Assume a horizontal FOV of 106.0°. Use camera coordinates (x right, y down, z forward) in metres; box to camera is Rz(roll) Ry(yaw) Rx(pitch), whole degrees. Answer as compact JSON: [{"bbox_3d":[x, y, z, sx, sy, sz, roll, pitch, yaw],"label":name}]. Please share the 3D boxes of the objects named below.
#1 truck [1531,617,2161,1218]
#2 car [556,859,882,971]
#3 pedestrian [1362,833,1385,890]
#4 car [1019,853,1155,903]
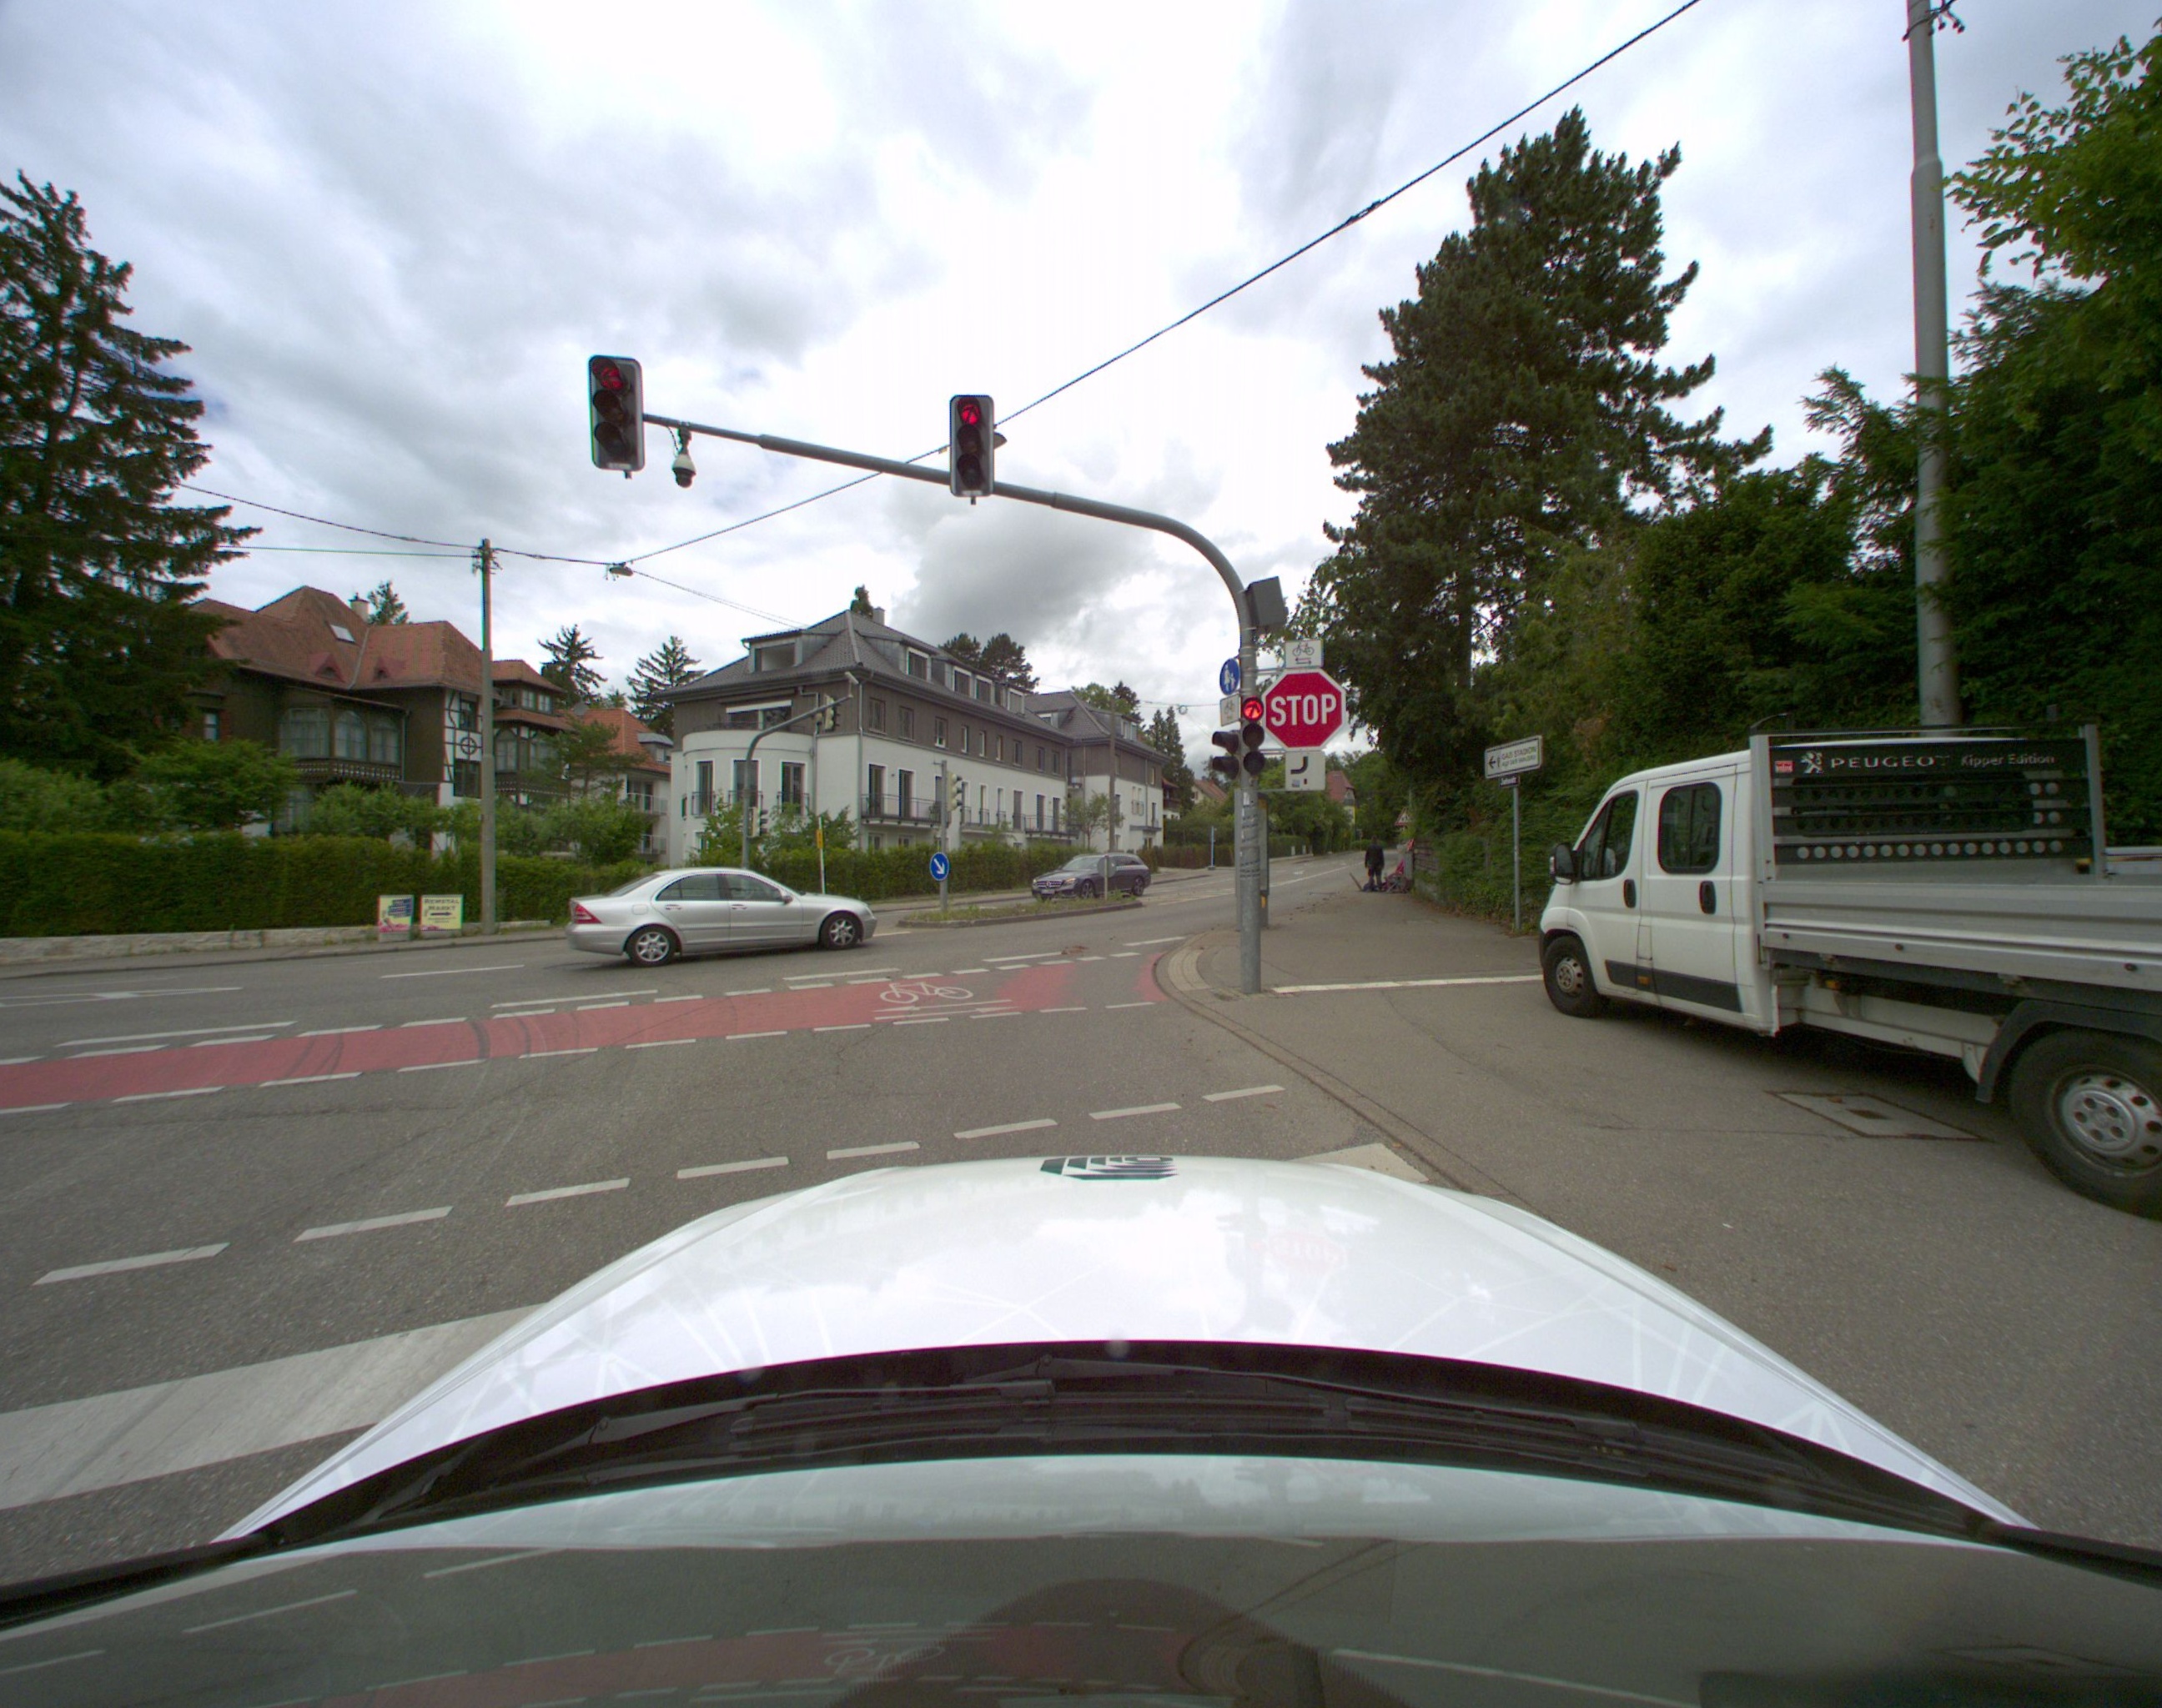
[{"bbox_3d":[5.264,0.237,4.948,2.198,2.243,5.729,0,0,4],"label":"truck"},{"bbox_3d":[-5.577,0.835,12.819,4.440,1.413,1.693,-1,0,-31],"label":"car"},{"bbox_3d":[9.800,0.244,27.292,0.594,1.907,0.559,0,-1,2],"label":"pedestrian"},{"bbox_3d":[0.317,0.706,26.207,1.920,1.403,4.773,-1,0,36],"label":"car"}]
